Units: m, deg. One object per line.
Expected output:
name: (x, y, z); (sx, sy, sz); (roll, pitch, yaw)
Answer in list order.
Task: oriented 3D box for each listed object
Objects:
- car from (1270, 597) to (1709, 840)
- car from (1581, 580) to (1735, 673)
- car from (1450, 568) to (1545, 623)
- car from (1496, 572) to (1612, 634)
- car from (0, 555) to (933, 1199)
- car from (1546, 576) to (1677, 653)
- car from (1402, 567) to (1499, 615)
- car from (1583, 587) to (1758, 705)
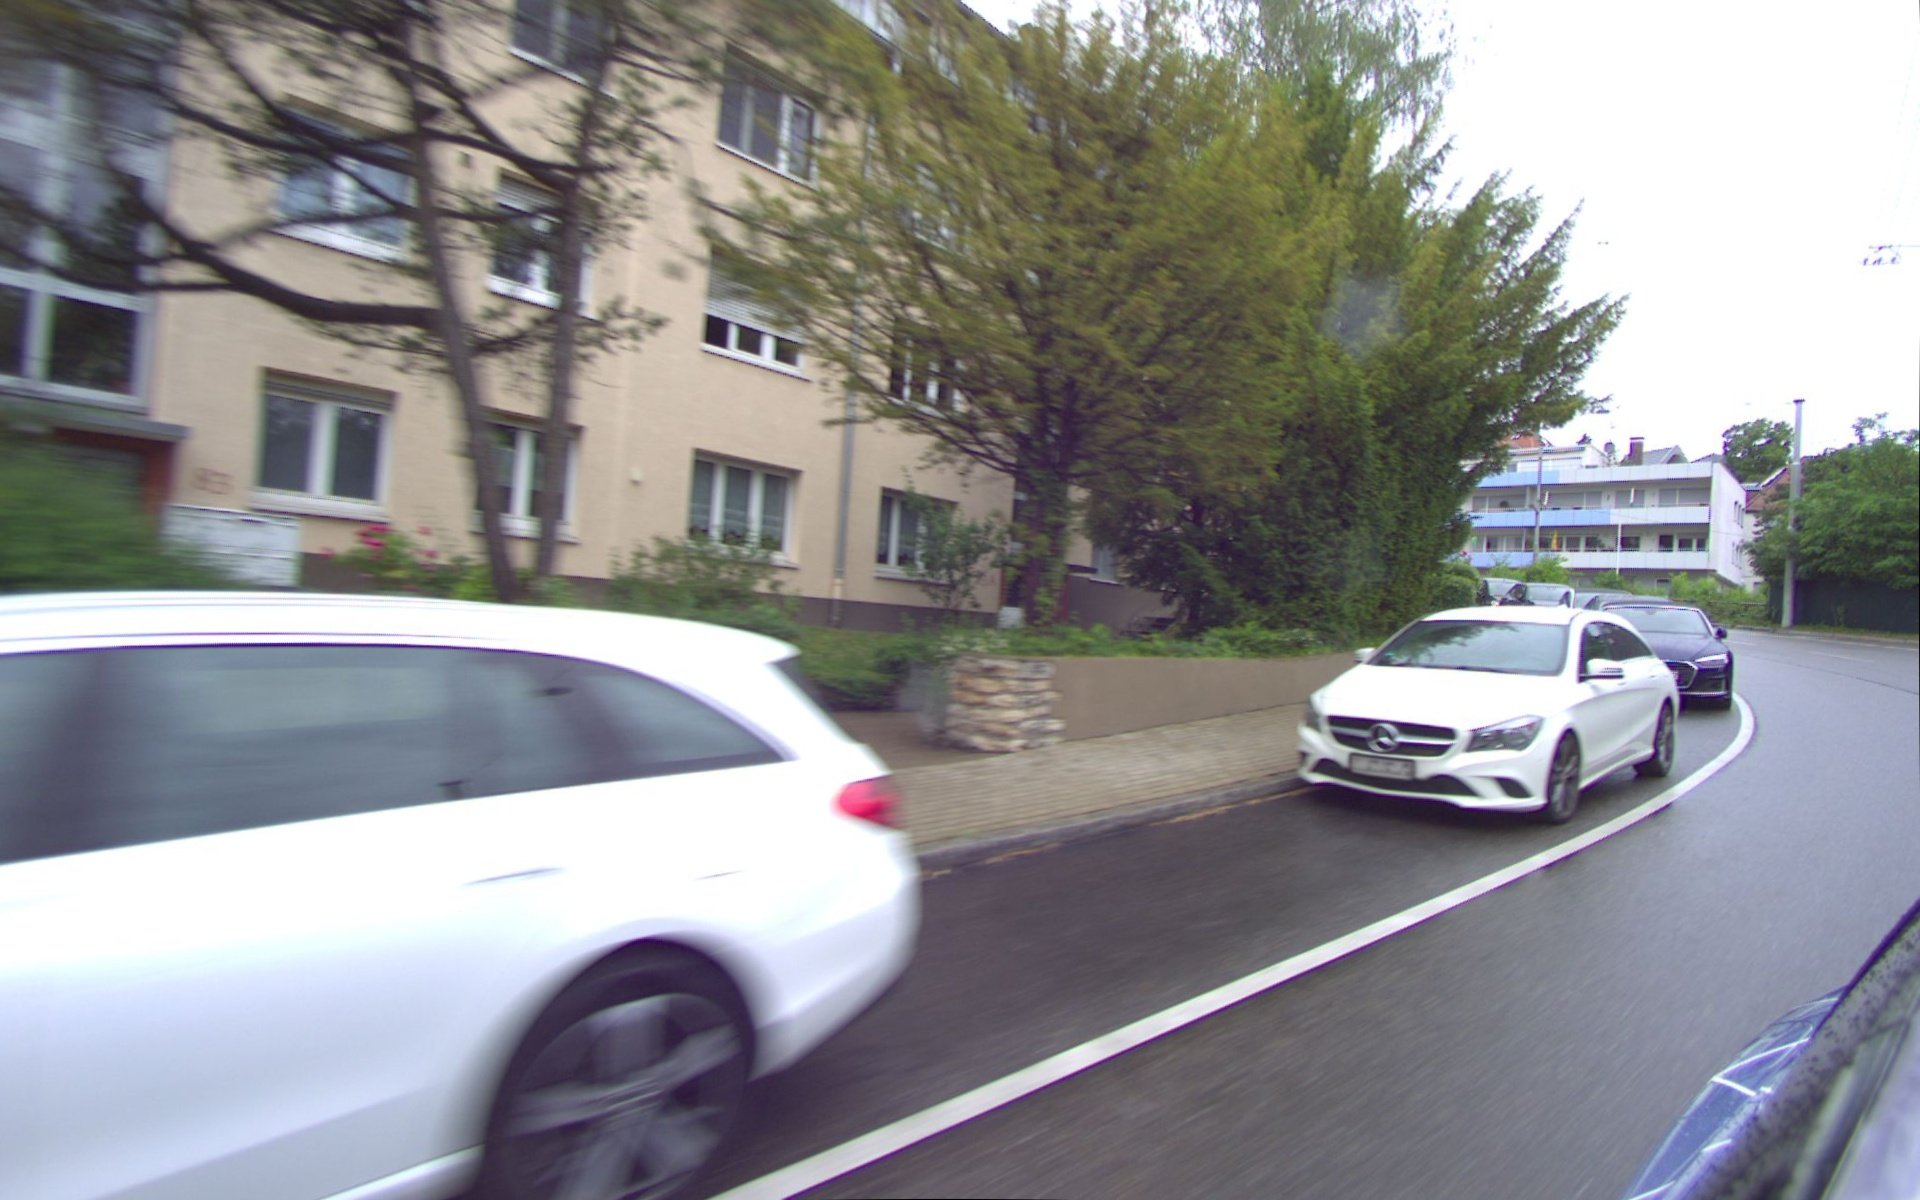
car: (4.525, 0.733, 8.286); (4.491, 1.453, 1.781); (1, 0, -43)
car: (13.296, 0.405, 19.546); (1.797, 1.452, 4.488); (5, 3, 27)
car: (17.650, -0.198, 33.382); (1.600, 1.523, 3.595); (6, 3, 10)
car: (16.663, 0.016, 28.588); (1.697, 1.452, 4.049); (6, 3, 15)
car: (-2.259, 0.643, 2.208); (4.179, 1.473, 1.811); (1, 2, -41)
car: (15.019, 0.274, 23.534); (1.668, 1.489, 3.713); (6, 3, 21)
car: (18.274, -0.395, 37.910); (1.701, 1.481, 4.029); (5, 3, 3)
car: (10.562, 0.558, 15.202); (1.802, 1.364, 4.563); (5, 3, 34)
